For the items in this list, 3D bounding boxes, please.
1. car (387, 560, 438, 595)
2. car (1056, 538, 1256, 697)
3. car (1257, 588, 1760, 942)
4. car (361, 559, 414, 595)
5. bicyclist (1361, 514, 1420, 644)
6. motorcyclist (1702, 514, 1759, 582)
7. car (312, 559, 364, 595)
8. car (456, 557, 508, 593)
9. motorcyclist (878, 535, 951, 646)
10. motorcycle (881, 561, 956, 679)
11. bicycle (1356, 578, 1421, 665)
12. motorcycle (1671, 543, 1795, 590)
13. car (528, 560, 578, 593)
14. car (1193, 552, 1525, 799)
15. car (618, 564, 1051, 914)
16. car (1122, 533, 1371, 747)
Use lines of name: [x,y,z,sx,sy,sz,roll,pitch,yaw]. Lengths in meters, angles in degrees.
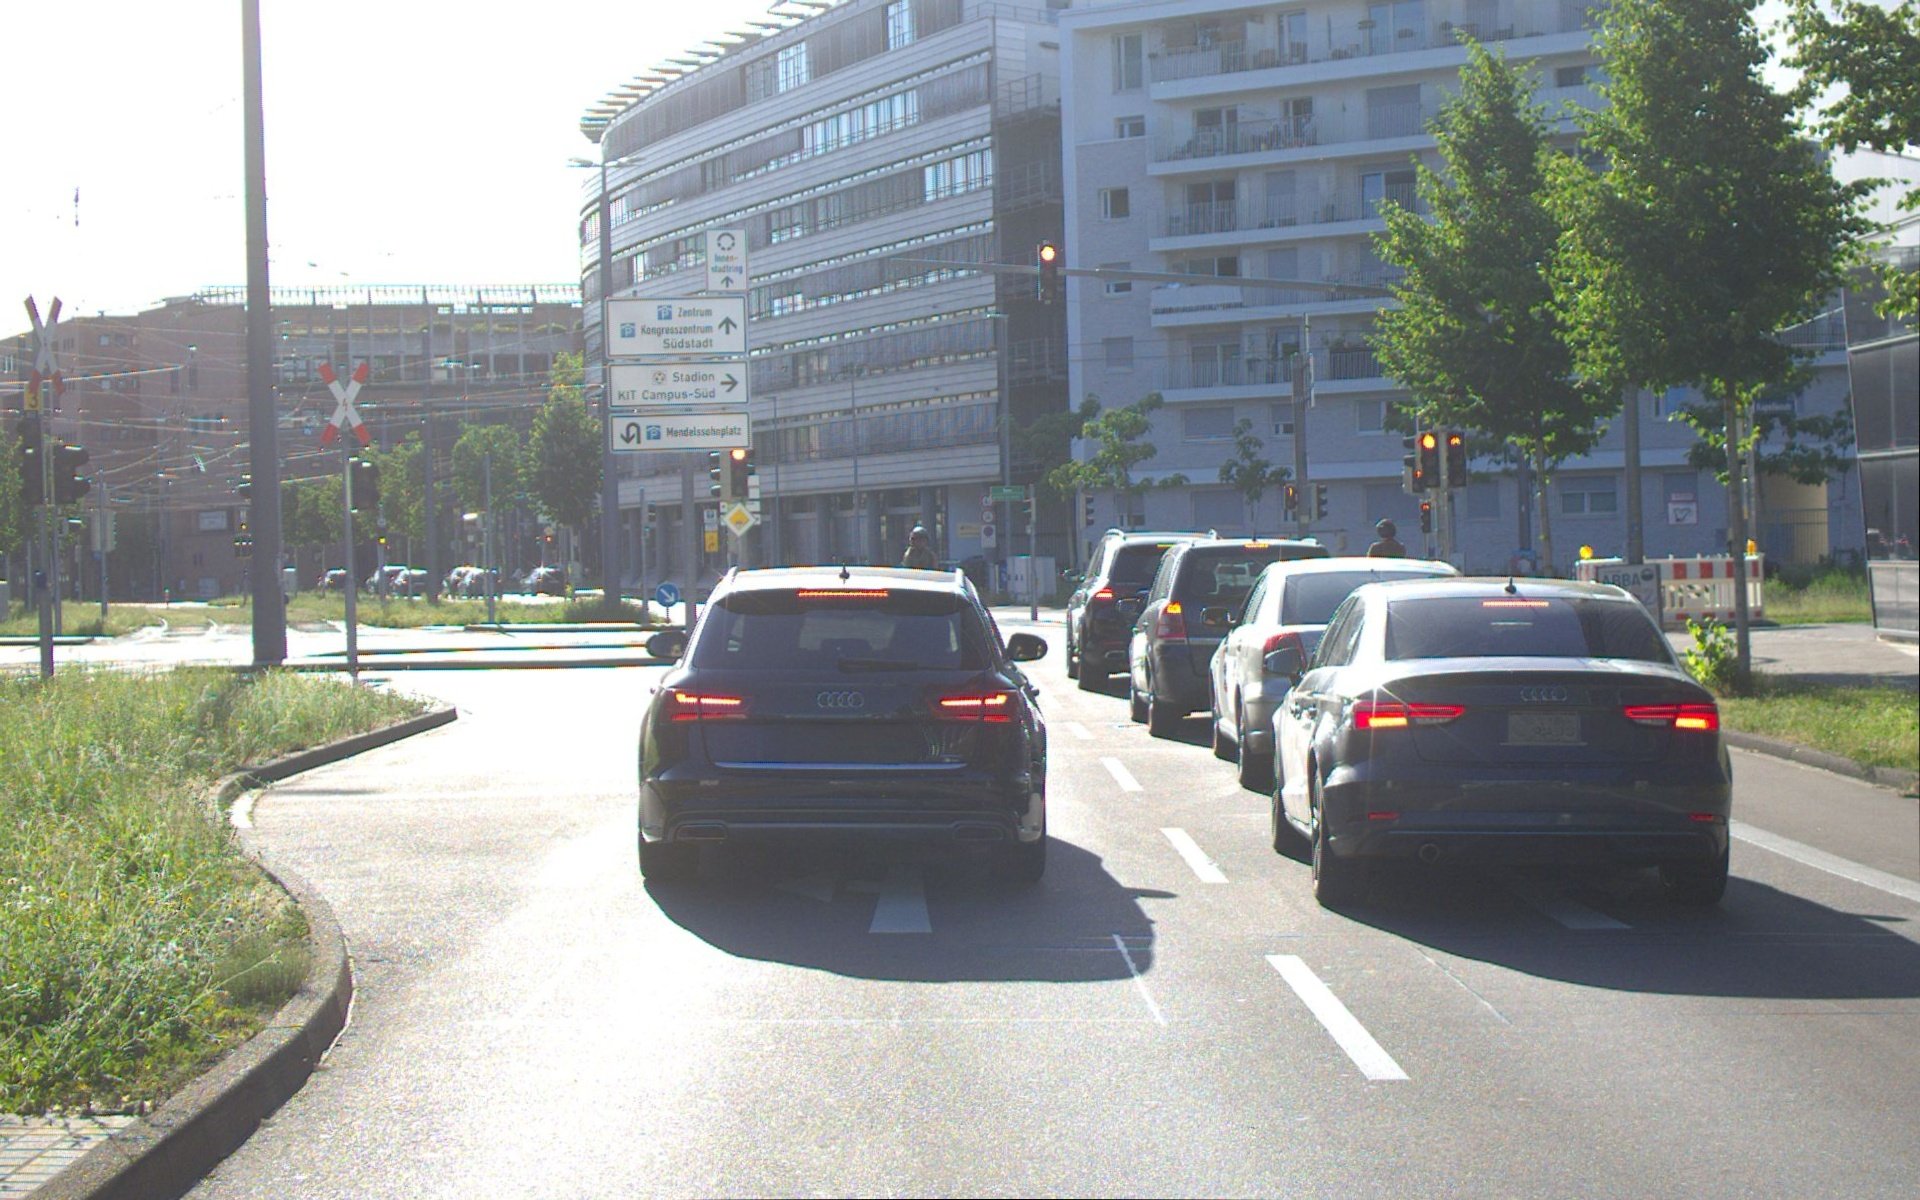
car: [-26.884,-1.107,168.688,1.993,1.590,4.001,-2,0,-15]
car: [2.179,0.149,39.376,2.003,1.709,4.372,0,1,0]
car: [2.377,0.655,15.884,1.746,1.387,4.264,0,1,2]
car: [-29.217,-1.164,175.293,1.993,1.700,4.001,-2,0,-18]
bicyclist: [5.518,-0.271,44.111,0.654,1.637,0.972,-1,1,3]
motorcyclist: [17.138,-1.159,76.510,0.925,1.476,1.172,-1,0,-3]
car: [-31.499,-1.161,173.949,1.993,1.700,4.001,-2,0,-18]
car: [-23.150,-1.205,166.526,1.993,1.590,4.001,-2,0,-15]
motorcyclist: [-0.554,-0.115,41.912,0.862,1.322,0.681,-1,0,0]
motorcycle: [-0.501,0.228,42.002,0.862,1.388,1.894,-1,0,0]
bicycle: [5.490,0.265,44.121,0.654,1.039,1.929,-1,1,3]
motorcycle: [17.195,-0.743,76.518,2.452,0.997,1.172,-1,1,-3]
car: [-21.190,-1.214,178.866,1.993,1.590,4.001,-2,0,-15]
car: [2.601,0.442,23.357,1.746,1.476,4.628,-1,1,1]
car: [-0.561,0.574,16.675,1.842,1.449,4.000,0,1,-1]
car: [2.381,0.295,29.492,1.746,1.690,4.261,0,1,0]
